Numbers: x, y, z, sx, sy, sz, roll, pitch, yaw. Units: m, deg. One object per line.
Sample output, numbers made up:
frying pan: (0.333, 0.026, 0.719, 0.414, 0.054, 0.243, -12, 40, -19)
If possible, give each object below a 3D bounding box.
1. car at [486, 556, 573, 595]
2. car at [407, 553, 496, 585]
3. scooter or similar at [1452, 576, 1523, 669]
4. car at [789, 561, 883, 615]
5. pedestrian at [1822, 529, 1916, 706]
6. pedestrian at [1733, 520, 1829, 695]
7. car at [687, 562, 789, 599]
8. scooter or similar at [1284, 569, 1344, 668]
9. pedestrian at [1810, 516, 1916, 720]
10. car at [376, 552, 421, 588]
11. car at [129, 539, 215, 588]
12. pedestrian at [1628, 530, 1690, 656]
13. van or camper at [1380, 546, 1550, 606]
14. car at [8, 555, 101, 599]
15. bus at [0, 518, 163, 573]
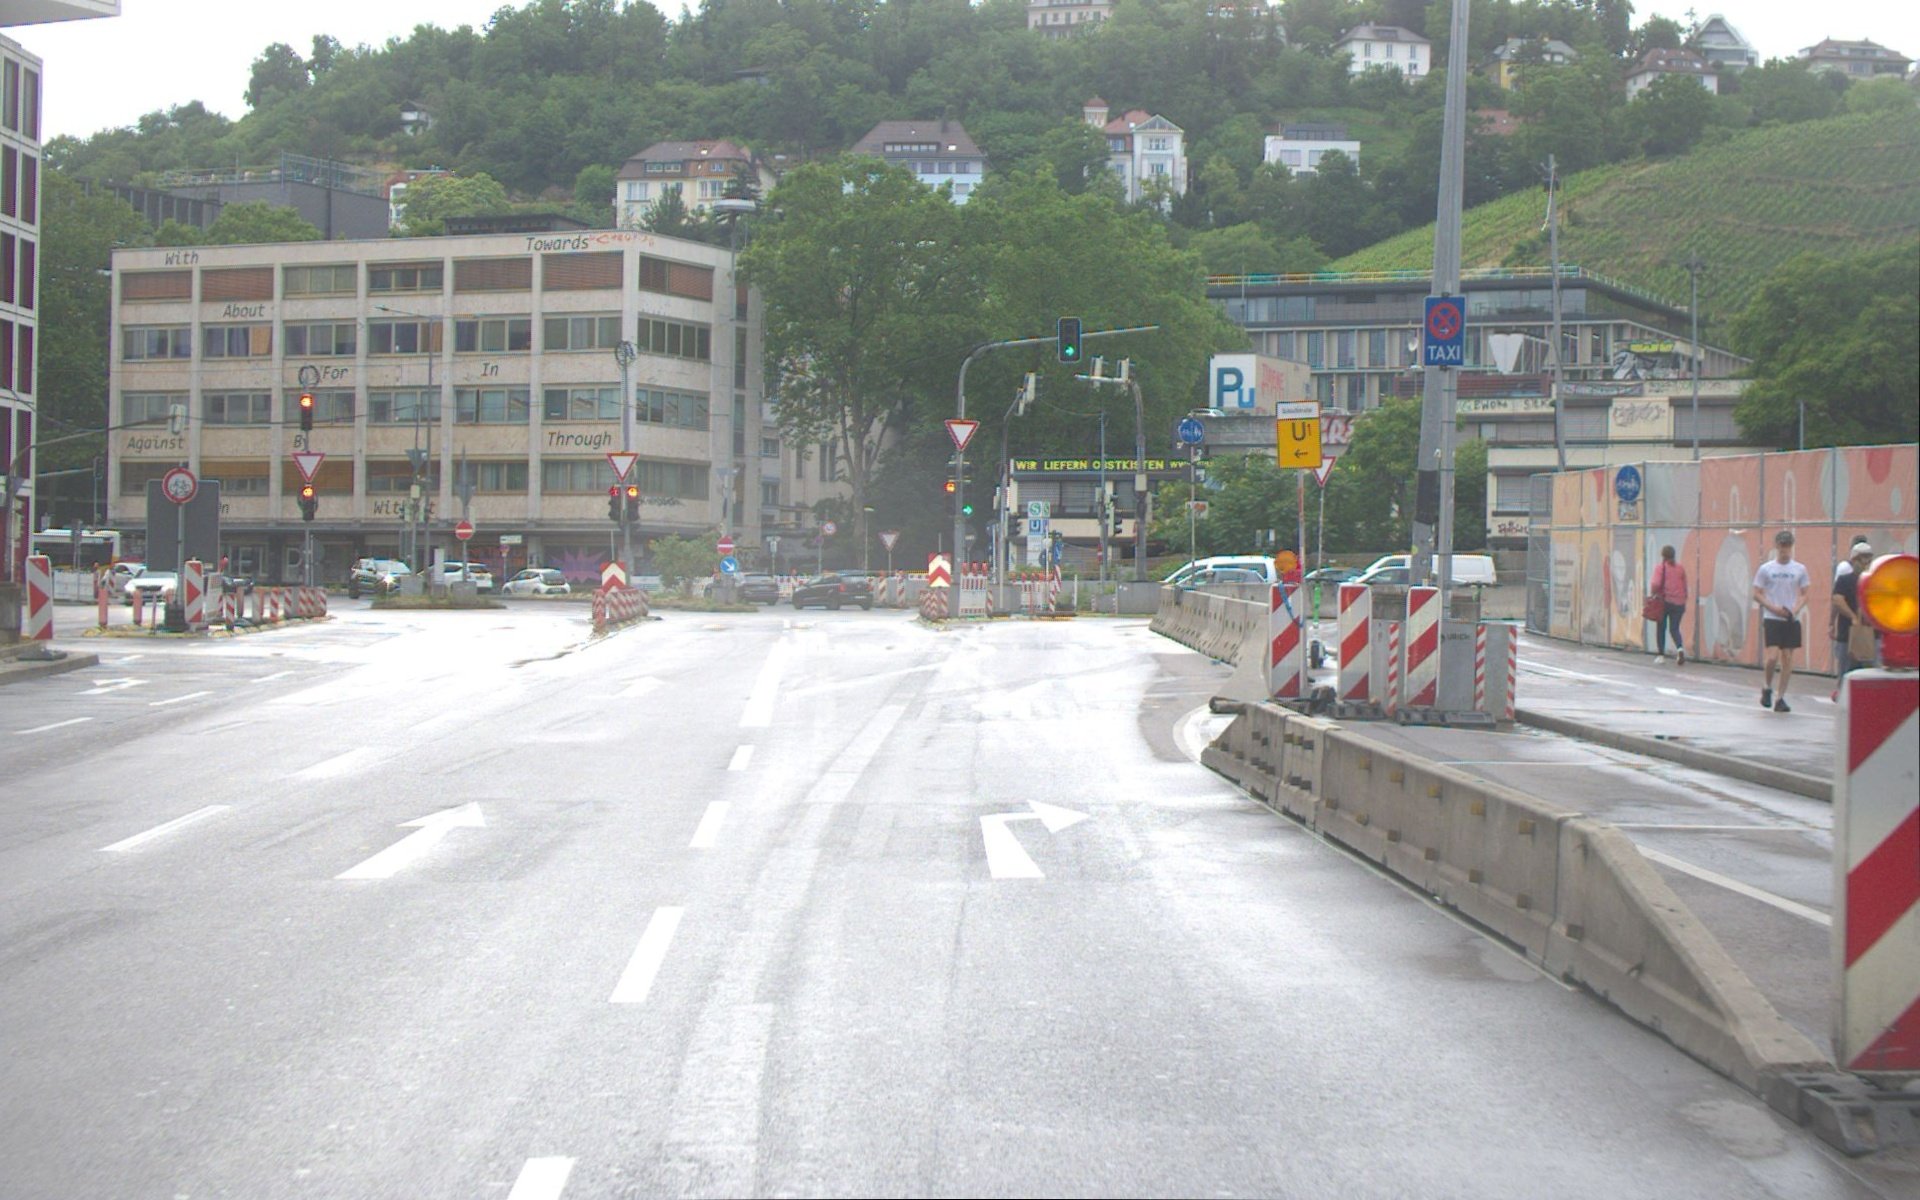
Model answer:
car: (-19.360, -1.116, 154.578, 1.794, 1.685, 3.999, 0, 1, -44)
car: (-24.146, -1.470, 163.294, 4.072, 1.487, 1.732, 1, 1, 34)
scooter or similar: (6.920, 0.289, 45.163, 0.467, 1.179, 1.415, 1, 1, -11)
car: (-4.819, -0.472, 132.659, 1.993, 2.007, 4.000, 0, 1, -29)
pedestrian: (9.690, 0.177, 36.678, 0.703, 1.860, 0.990, 1, 1, -1)
pedestrian: (8.263, 0.067, 34.621, 0.683, 1.734, 0.907, 1, 1, -3)
car: (-9.299, -0.816, 144.155, 4.072, 1.487, 1.732, 1, 1, 35)
scooter or similar: (4.467, 0.228, 43.454, 0.675, 1.210, 1.571, 1, 1, 4)
pedestrian: (7.826, 0.148, 29.811, 0.642, 1.734, 0.838, 1, 1, -2)
car: (-23.939, -1.284, 146.482, 1.830, 1.481, 4.001, 0, 1, -10)
car: (-28.614, -1.310, 124.991, 2.222, 1.747, 4.813, 0, 0, -2)
pedestrian: (10.375, -0.109, 51.025, 0.719, 1.860, 0.709, 1, 1, -3)
van or camper: (16.417, -0.801, 111.939, 5.195, 1.887, 1.888, 1, 1, -3)
car: (-38.732, -0.991, 146.997, 3.996, 1.809, 1.802, 2, 1, 38)
bus: (-47.371, -2.834, 176.670, 13.953, 2.741, 3.206, 1, 1, 30)
